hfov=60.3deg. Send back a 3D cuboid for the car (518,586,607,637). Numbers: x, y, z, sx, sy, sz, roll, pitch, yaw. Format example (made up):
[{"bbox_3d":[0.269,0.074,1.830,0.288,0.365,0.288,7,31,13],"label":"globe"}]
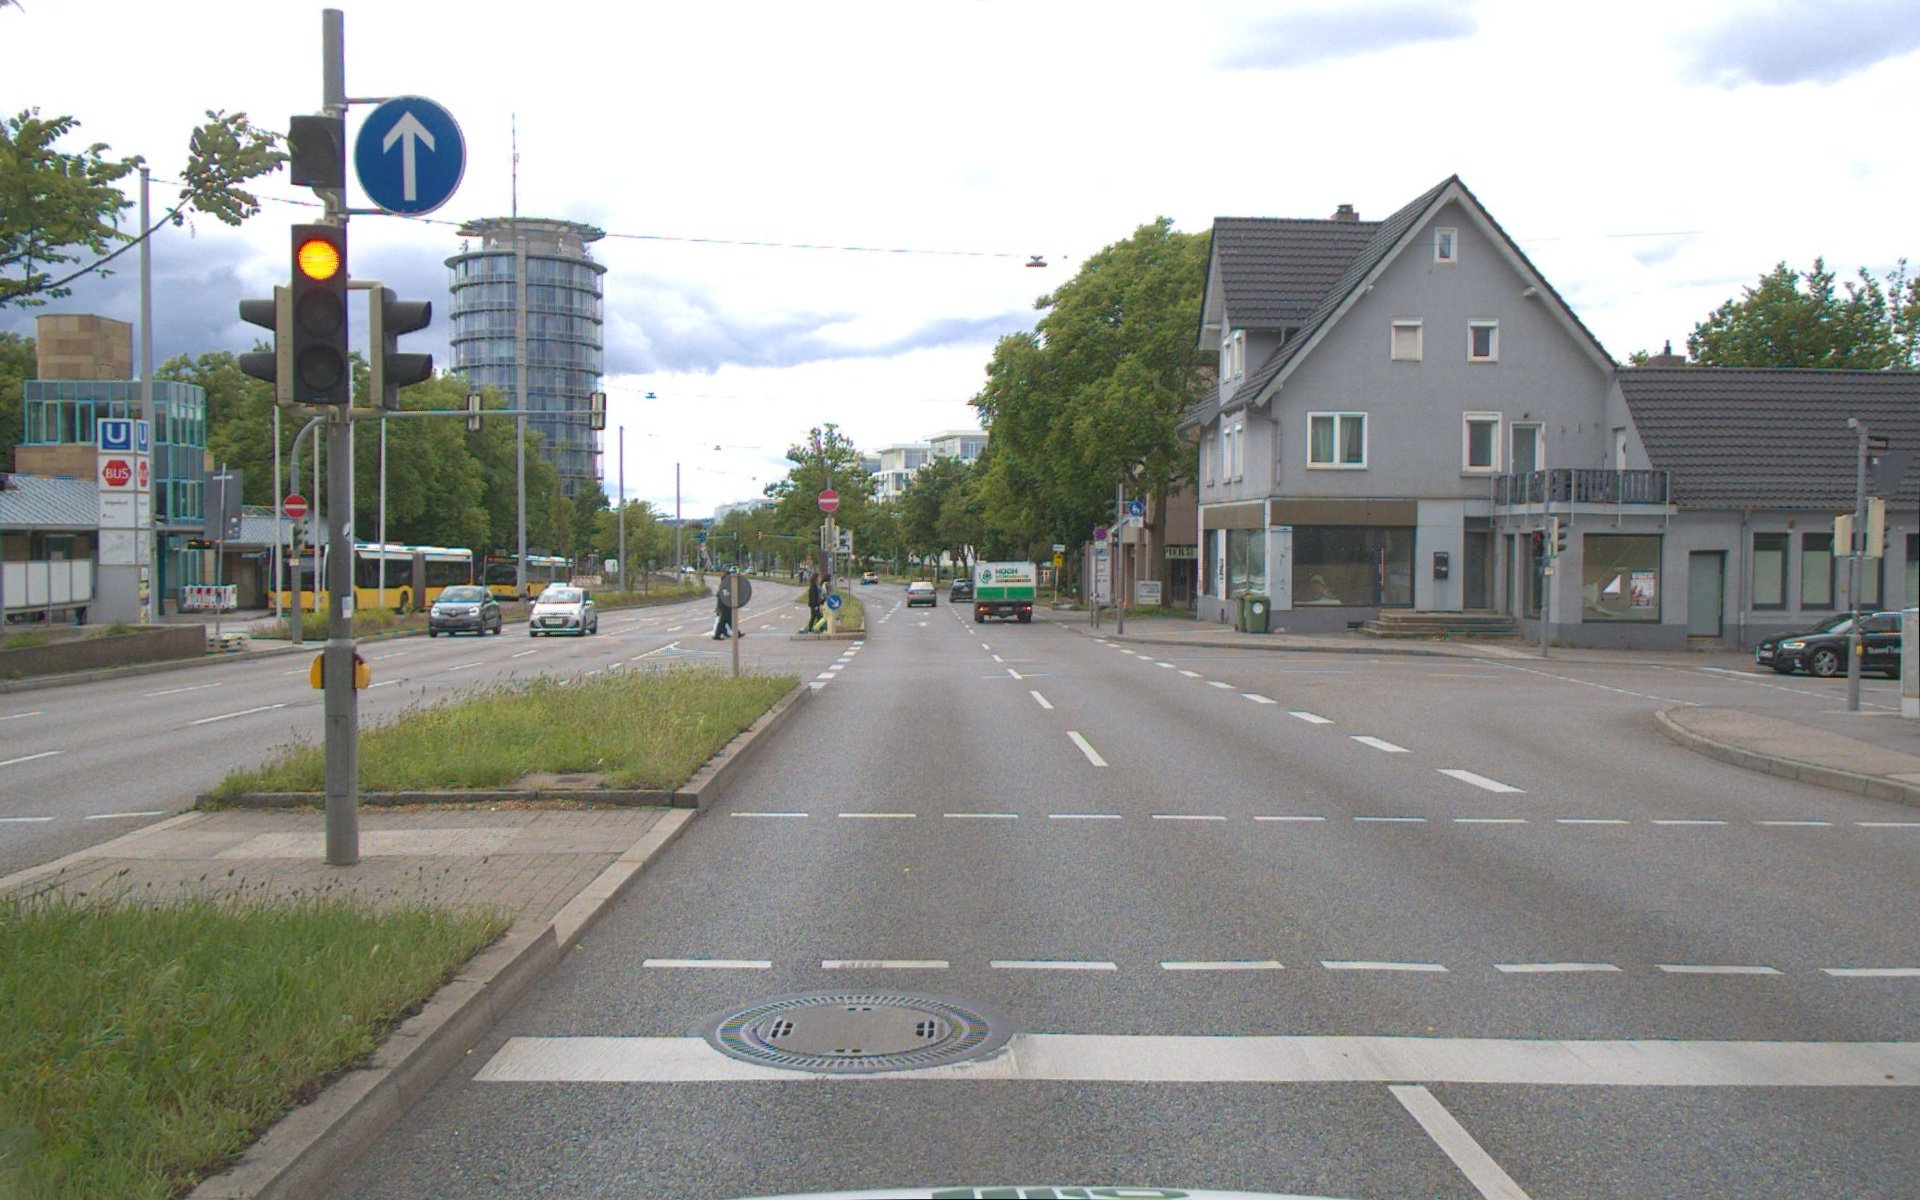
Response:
[{"bbox_3d":[-12.344,0.321,51.587,1.953,1.512,3.998,0,0,-2],"label":"car"}]

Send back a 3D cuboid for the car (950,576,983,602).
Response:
[{"bbox_3d":[0.378,-0.700,104.605,1.953,1.579,3.999,1,0,-1],"label":"car"}]

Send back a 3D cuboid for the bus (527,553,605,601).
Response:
[{"bbox_3d":[-29.739,-1.698,125.240,2.772,3.490,10.738,0,0,3],"label":"bus"}]

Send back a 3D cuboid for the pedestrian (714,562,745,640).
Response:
[{"bbox_3d":[-6.148,0.025,44.099,0.814,2.049,0.545,0,0,-8],"label":"pedestrian"}]

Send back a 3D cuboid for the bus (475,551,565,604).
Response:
[{"bbox_3d":[-30.312,-1.525,114.492,2.772,3.490,10.738,0,0,3],"label":"bus"}]

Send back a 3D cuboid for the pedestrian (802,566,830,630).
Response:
[{"bbox_3d":[-3.925,-0.052,45.133,0.731,1.746,0.582,0,0,-8],"label":"pedestrian"}]

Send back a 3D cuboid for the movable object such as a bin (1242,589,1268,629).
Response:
[{"bbox_3d":[7.977,0.237,44.707,0.592,1.078,0.589,1,0,1],"label":"movable object such as a bin"}]

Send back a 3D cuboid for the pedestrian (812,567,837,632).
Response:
[{"bbox_3d":[-3.647,-0.012,44.635,0.641,1.746,0.451,0,0,-8],"label":"pedestrian"}]

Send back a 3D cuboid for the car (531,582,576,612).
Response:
[{"bbox_3d":[-23.891,-0.201,97.270,1.770,1.691,3.999,0,0,-2],"label":"car"}]

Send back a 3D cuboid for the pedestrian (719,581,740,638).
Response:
[{"bbox_3d":[-6.262,0.251,44.983,0.533,1.522,0.485,0,0,-10],"label":"pedestrian"}]

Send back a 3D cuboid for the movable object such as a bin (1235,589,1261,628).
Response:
[{"bbox_3d":[7.915,0.234,45.533,0.603,1.061,0.589,1,0,1],"label":"movable object such as a bin"}]

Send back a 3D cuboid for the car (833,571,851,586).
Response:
[{"bbox_3d":[-12.643,-2.305,176.792,1.954,1.545,3.997,0,1,-5],"label":"car"}]

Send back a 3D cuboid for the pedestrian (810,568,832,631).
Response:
[{"bbox_3d":[-3.858,-0.016,45.854,0.572,1.746,0.545,0,0,-8],"label":"pedestrian"}]

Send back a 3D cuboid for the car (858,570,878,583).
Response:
[{"bbox_3d":[-11.080,-2.819,199.234,1.957,1.579,3.991,-1,1,-10],"label":"car"}]

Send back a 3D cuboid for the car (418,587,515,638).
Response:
[{"bbox_3d":[-15.427,0.366,51.904,1.953,1.512,3.998,0,0,-2],"label":"car"}]

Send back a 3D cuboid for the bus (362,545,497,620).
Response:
[{"bbox_3d":[-26.412,-0.876,83.022,2.772,3.490,10.738,0,0,3],"label":"bus"}]

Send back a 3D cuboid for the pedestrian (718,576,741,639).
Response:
[{"bbox_3d":[-6.385,0.201,45.830,0.601,1.746,0.545,0,0,-8],"label":"pedestrian"}]

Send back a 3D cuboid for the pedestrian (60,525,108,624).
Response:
[{"bbox_3d":[-18.447,-0.537,34.836,0.668,2.049,0.645,0,0,-5],"label":"pedestrian"}]

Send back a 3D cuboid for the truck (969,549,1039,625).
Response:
[{"bbox_3d":[1.591,-0.550,62.044,2.420,2.656,6.548,1,2,0],"label":"truck"}]

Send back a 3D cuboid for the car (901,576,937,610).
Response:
[{"bbox_3d":[-2.262,-0.395,92.523,1.953,1.862,3.999,1,0,-1],"label":"car"}]

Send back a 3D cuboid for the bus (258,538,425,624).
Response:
[{"bbox_3d":[-26.963,-0.813,72.794,2.772,3.490,10.738,0,0,3],"label":"bus"}]

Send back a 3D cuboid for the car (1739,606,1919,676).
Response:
[{"bbox_3d":[19.458,0.896,36.133,4.006,1.395,1.799,2,0,-2],"label":"car"}]

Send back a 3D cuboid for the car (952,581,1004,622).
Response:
[{"bbox_3d":[0.713,0.032,67.302,1.953,1.579,3.999,1,0,-1],"label":"car"}]
